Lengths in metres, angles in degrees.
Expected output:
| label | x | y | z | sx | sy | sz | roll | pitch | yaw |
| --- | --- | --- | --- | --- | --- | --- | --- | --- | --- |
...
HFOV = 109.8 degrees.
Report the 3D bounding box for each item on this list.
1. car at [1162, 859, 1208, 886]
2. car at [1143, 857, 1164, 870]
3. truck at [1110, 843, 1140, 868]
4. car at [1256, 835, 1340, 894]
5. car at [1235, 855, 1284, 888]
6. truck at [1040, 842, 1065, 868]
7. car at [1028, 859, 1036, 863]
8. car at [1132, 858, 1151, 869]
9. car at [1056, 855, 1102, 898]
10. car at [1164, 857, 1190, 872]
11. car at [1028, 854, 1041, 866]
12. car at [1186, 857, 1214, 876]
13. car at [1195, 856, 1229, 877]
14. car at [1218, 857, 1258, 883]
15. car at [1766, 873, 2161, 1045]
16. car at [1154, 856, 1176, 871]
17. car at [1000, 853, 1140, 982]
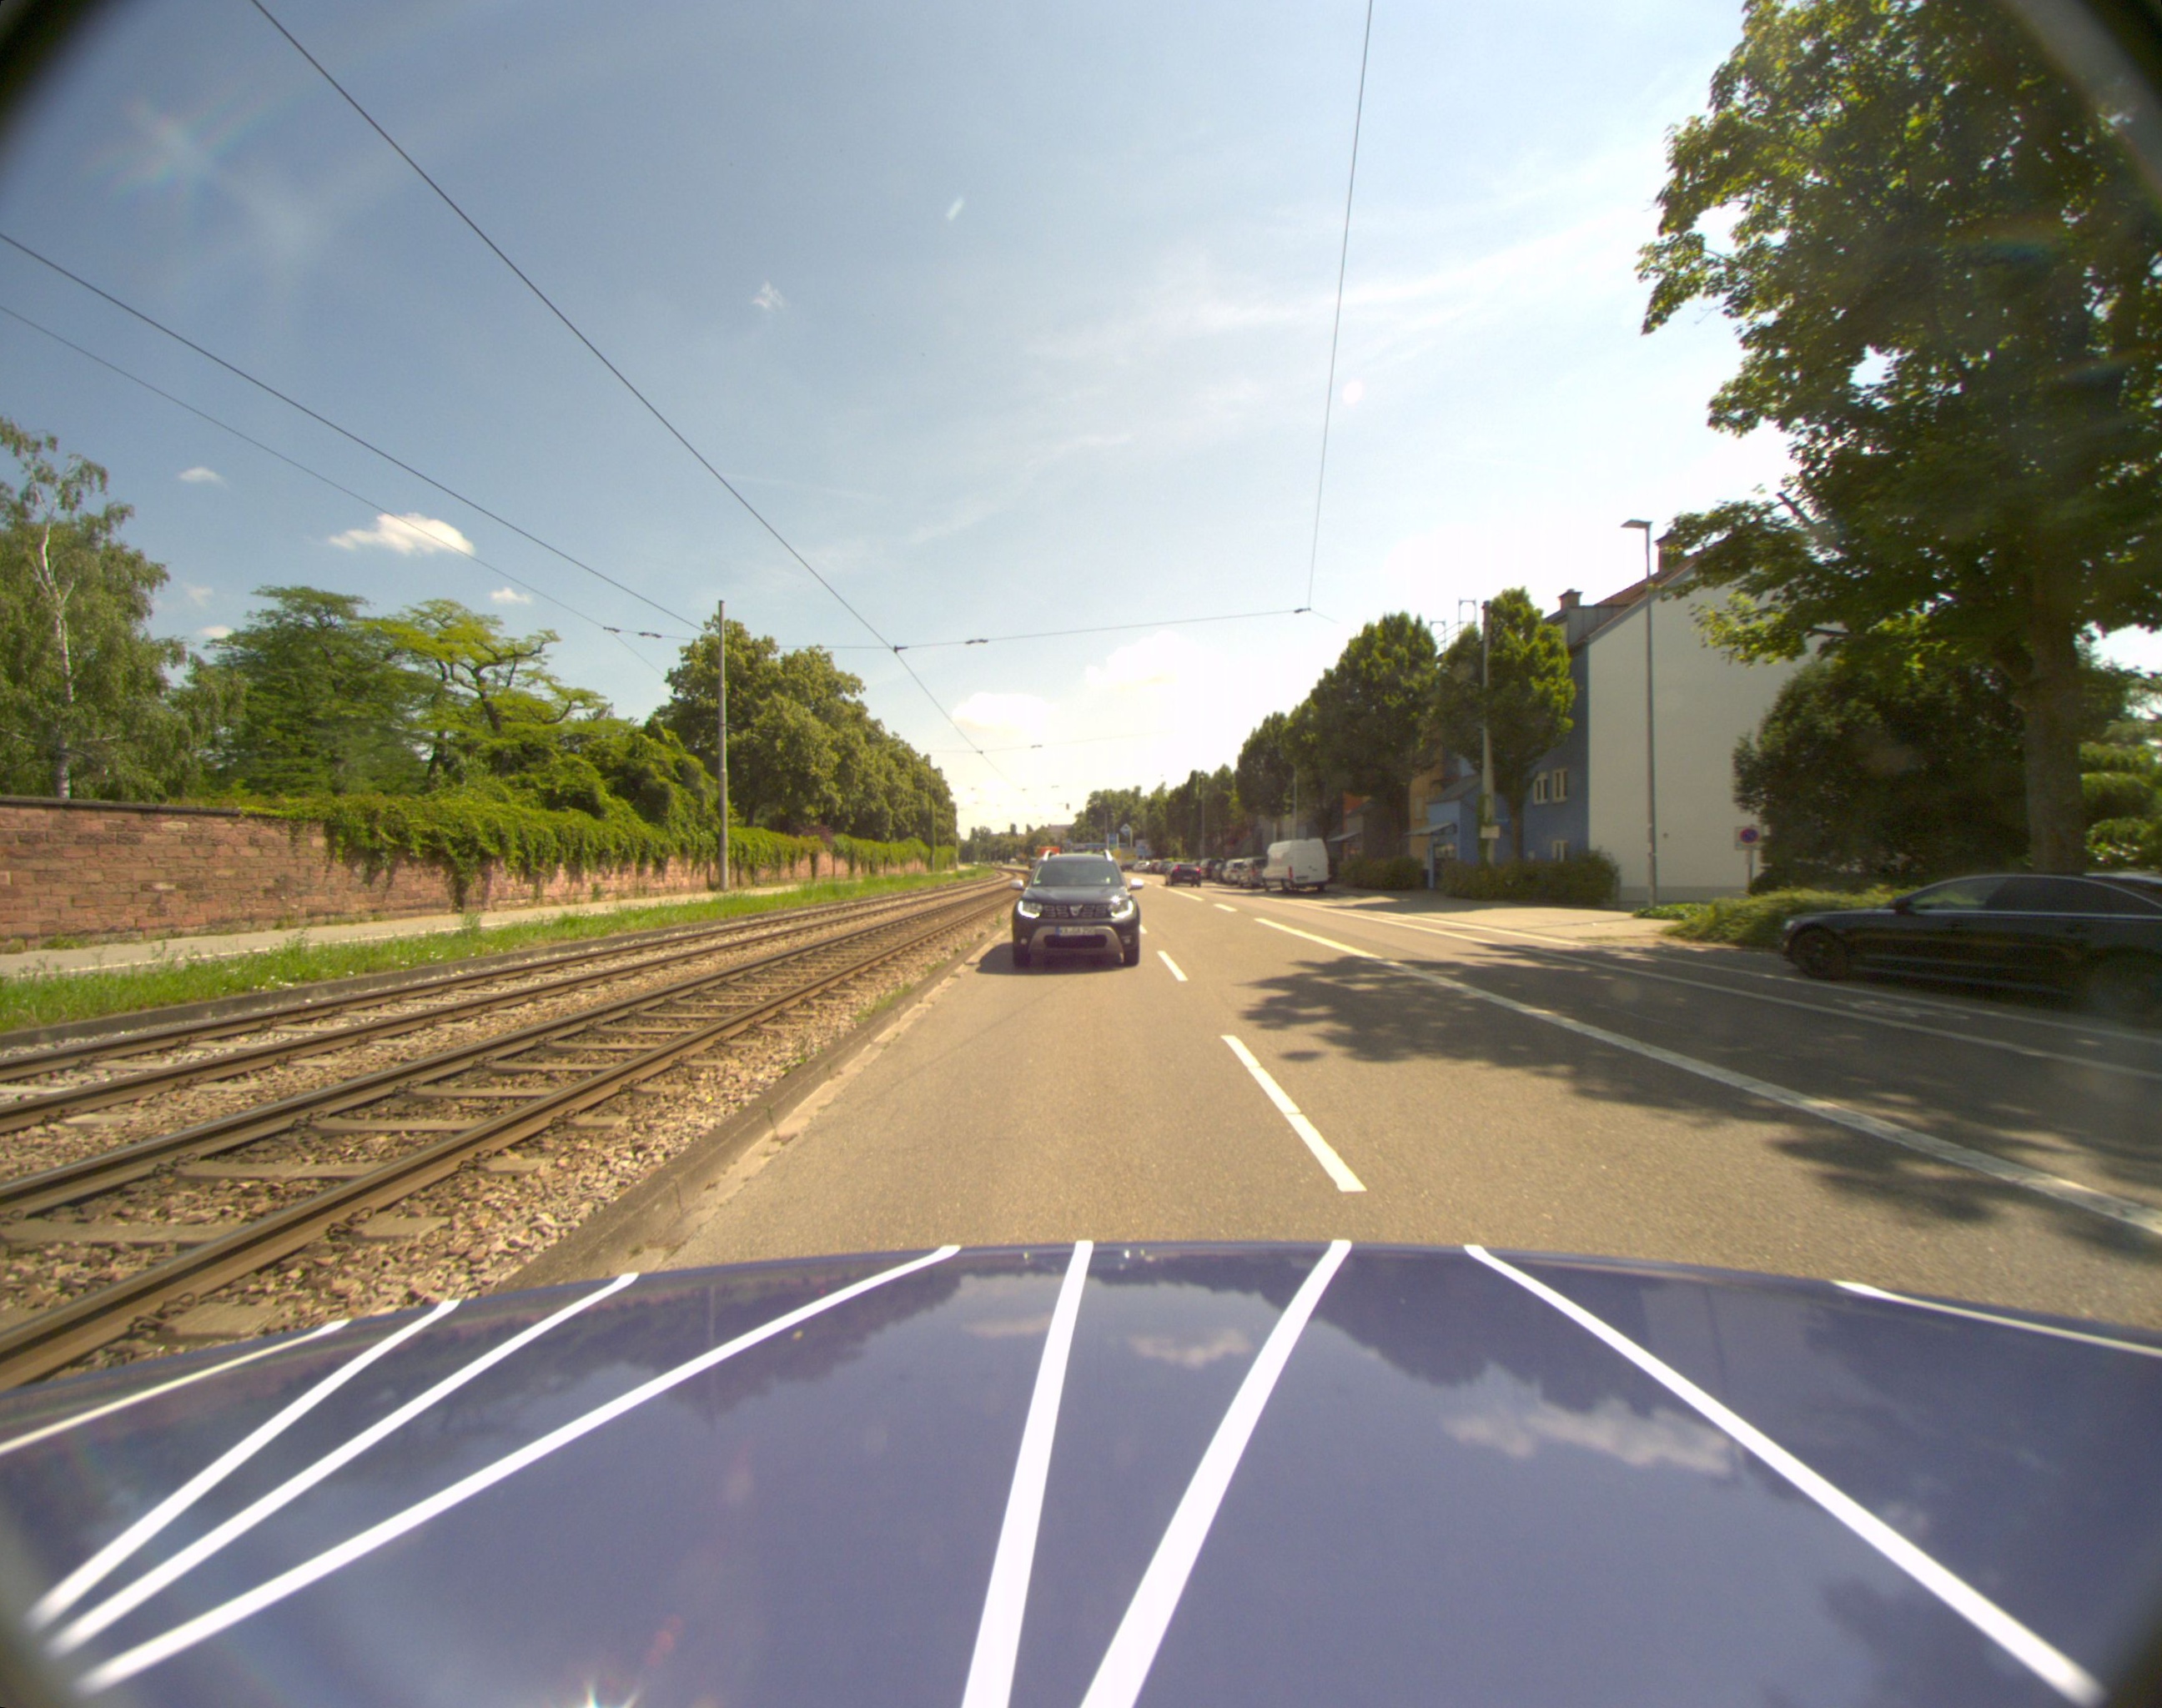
| label | x | y | z | sx | sy | sz | roll | pitch | yaw |
| --- | --- | --- | --- | --- | --- | --- | --- | --- | --- |
| car | 6.075 | 1.046 | 44.862 | 1.780 | 1.451 | 4.193 | 1 | 0 | -5 |
| car | 8.840 | 1.148 | 92.769 | 1.661 | 1.600 | 4.171 | -1 | 0 | -8 |
| truck | 6.441 | 0.234 | 112.793 | 2.840 | 3.527 | 8.165 | -3 | 0 | -8 |
| car | 11.136 | 0.536 | 39.665 | 2.329 | 2.635 | 7.036 | -4 | 0 | 1 |
| car | 11.081 | 1.029 | 47.584 | 1.811 | 1.884 | 5.362 | -3 | 0 | 1 |
| truck | -4.139 | 0.102 | 109.056 | 2.847 | 3.574 | 8.700 | -1 | 0 | -6 |
| car | -14.828 | 2.124 | 229.445 | 2.000 | 1.379 | 3.998 | 0 | 0 | -7 |
| car | 8.031 | 1.276 | 100.951 | 1.661 | 1.402 | 4.394 | 0 | 0 | -8 |
| car | -0.127 | 0.890 | 32.174 | 1.802 | 1.683 | 4.144 | -1 | 0 | -1 |
| car | 10.223 | 1.108 | 81.276 | 1.660 | 1.499 | 4.893 | -3 | 1 | -5 |
| car | -8.541 | 1.058 | 138.768 | 2.000 | 2.002 | 3.997 | -1 | 0 | -7 |
| car | 10.833 | 1.120 | 69.295 | 1.660 | 1.608 | 4.284 | 0 | 0 | -3 |
| car | 10.958 | 1.028 | 63.845 | 1.756 | 1.706 | 4.887 | 0 | 0 | -2 |
| car | 10.984 | 1.093 | 53.518 | 1.721 | 1.742 | 4.903 | -1 | 0 | 0 |
| car | 10.558 | 0.989 | 8.293 | 1.779 | 1.447 | 4.804 | -1 | 0 | -1 |
| car | 9.556 | 1.064 | 86.713 | 1.660 | 1.600 | 4.685 | -3 | 0 | -5 |
| car | -0.069 | 0.853 | 12.367 | 1.801 | 1.652 | 4.788 | -2 | 0 | 2 |
